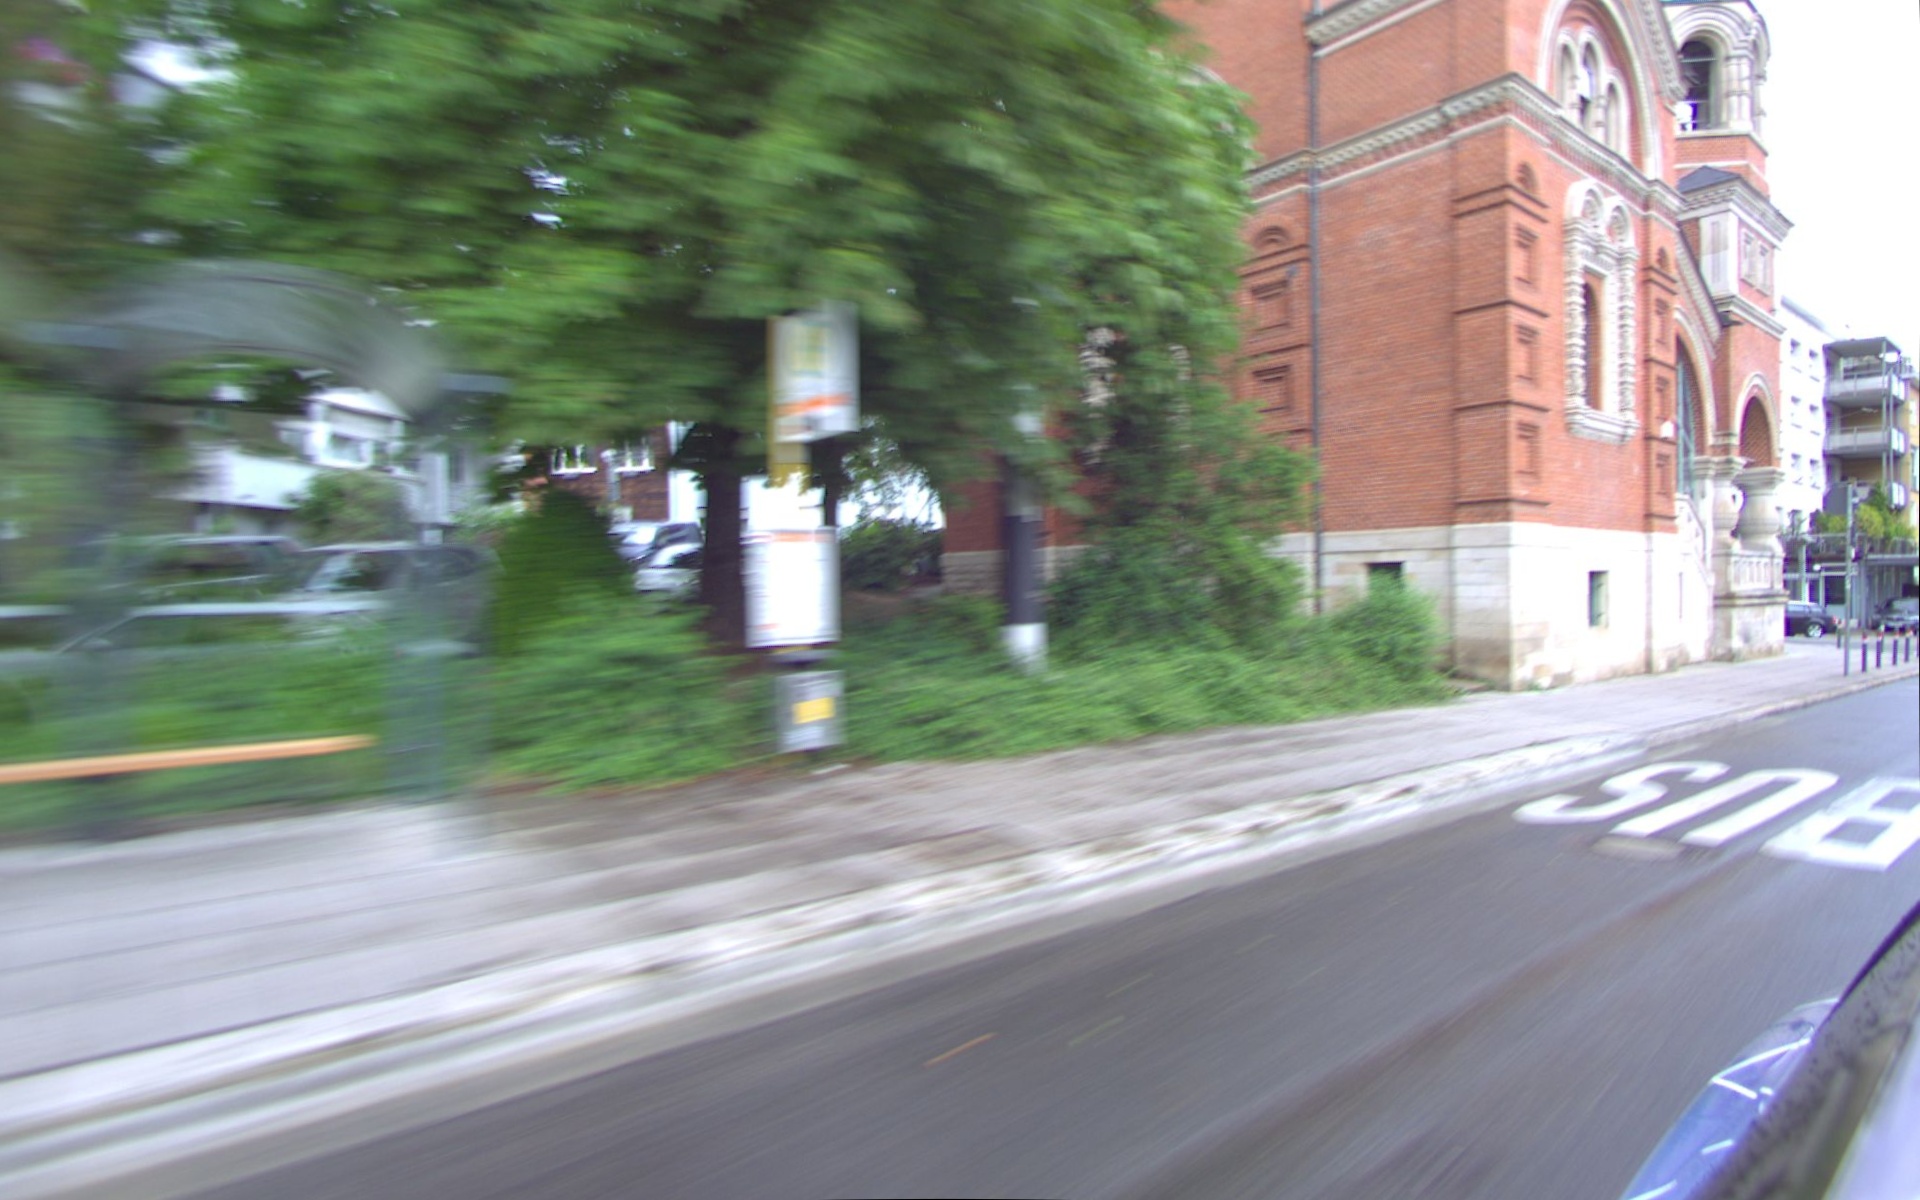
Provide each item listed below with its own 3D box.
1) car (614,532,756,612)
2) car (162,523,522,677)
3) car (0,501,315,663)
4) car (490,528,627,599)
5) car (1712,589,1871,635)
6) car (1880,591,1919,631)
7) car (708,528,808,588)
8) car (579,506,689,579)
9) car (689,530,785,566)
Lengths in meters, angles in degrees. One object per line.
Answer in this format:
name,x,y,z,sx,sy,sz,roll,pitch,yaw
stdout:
car,-5.965,-0.579,22.443,1.809,1.584,3.991,-1,0,4
car,-7.384,-0.011,12.724,1.807,1.578,4.384,-1,0,1
car,-10.573,-0.197,12.922,1.809,1.717,4.197,-1,0,4
car,-10.546,-0.897,26.918,1.809,1.717,4.198,-1,0,3
car,32.748,0.479,39.977,4.373,1.476,1.998,4,0,6
car,42.066,0.459,44.321,4.368,1.521,1.859,-2,4,-38
car,-5.410,-1.091,27.586,1.712,1.463,3.831,-1,0,4
car,-9.982,-1.696,31.302,1.963,2.002,3.997,-1,0,3
car,-10.262,-2.378,46.678,3.936,1.550,1.823,1,0,11
